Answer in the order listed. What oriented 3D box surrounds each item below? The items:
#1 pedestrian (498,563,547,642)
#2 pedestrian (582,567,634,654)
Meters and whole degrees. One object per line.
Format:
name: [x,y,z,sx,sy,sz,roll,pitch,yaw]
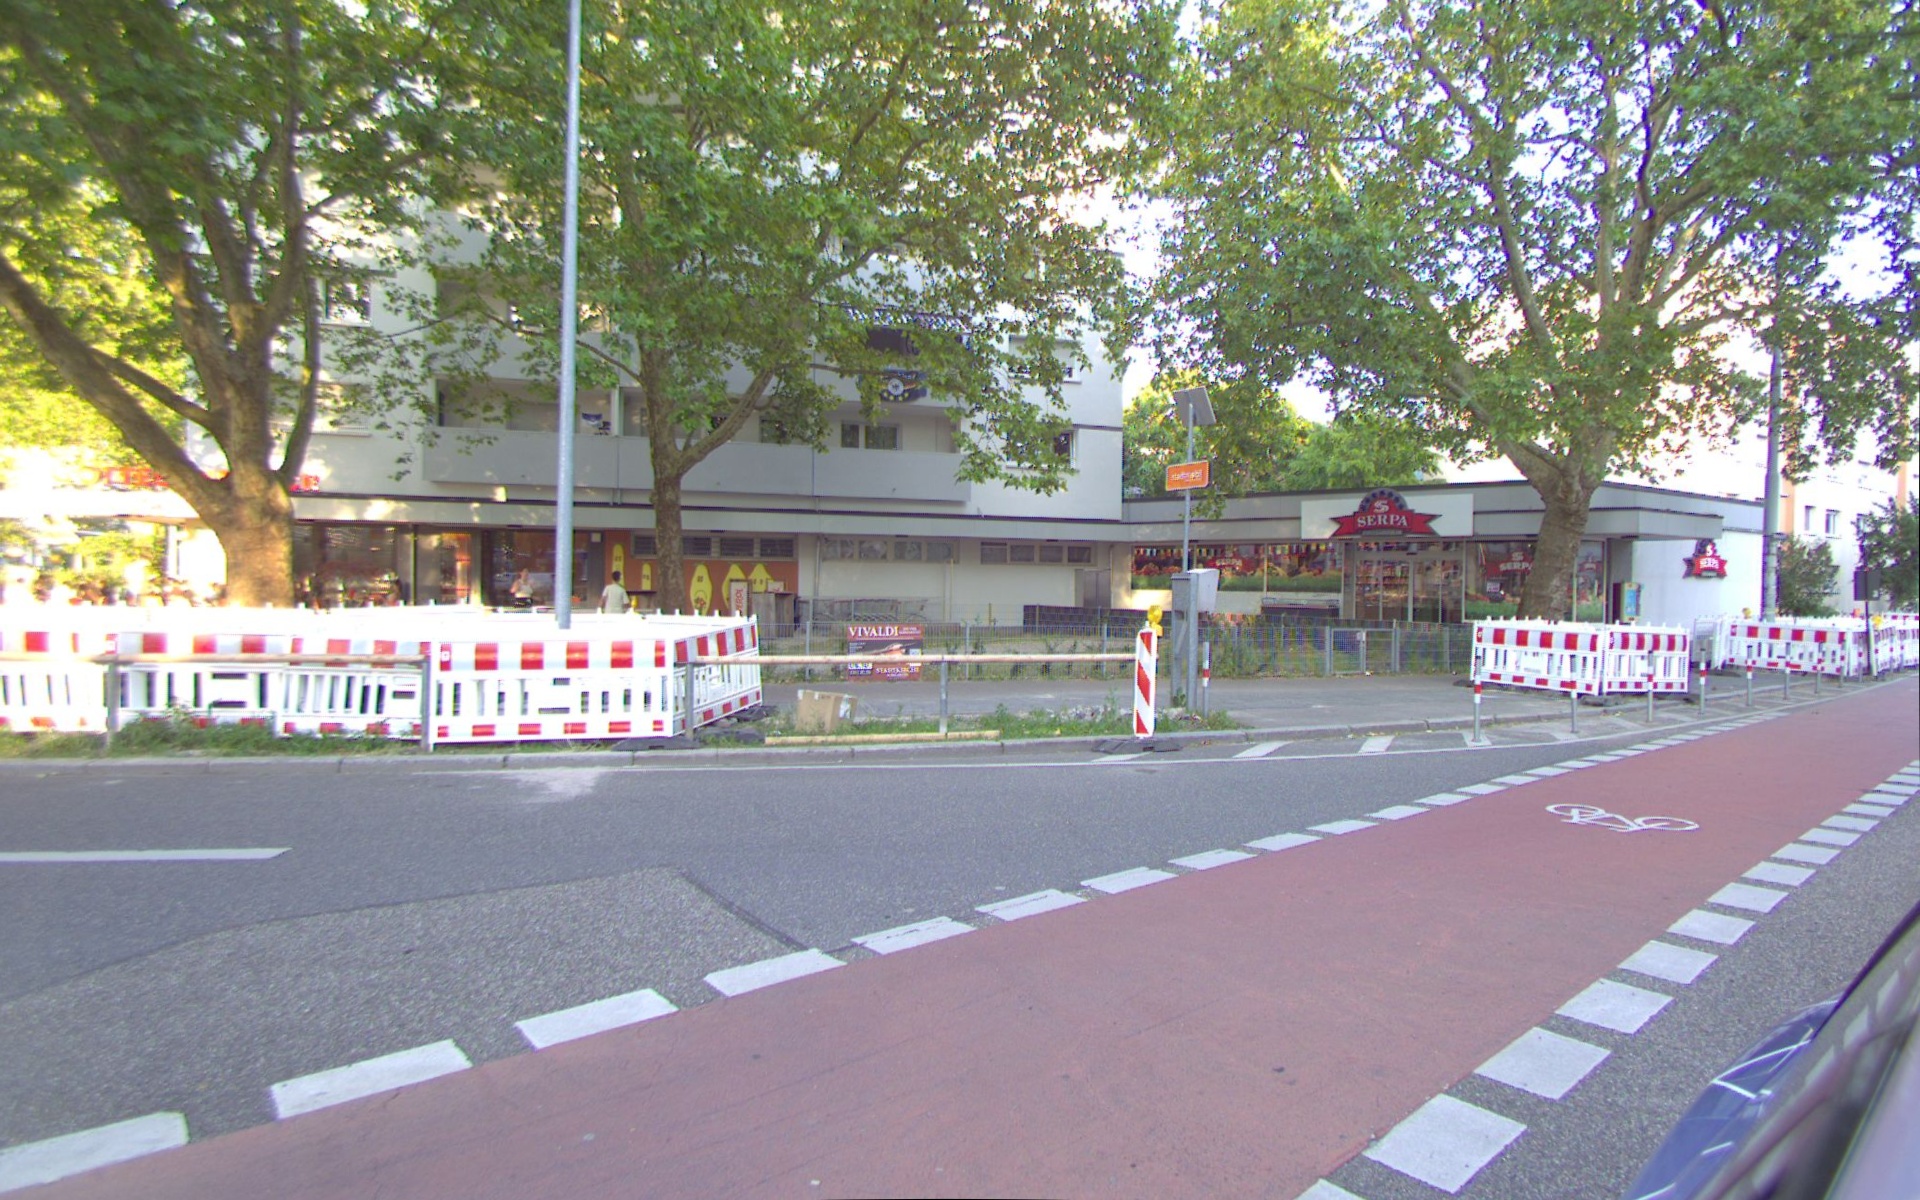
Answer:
pedestrian: [-9.097,0.040,21.063,0.639,1.608,0.735,0,0,43]
pedestrian: [-6.744,0.190,19.397,0.639,1.608,0.735,0,0,42]
